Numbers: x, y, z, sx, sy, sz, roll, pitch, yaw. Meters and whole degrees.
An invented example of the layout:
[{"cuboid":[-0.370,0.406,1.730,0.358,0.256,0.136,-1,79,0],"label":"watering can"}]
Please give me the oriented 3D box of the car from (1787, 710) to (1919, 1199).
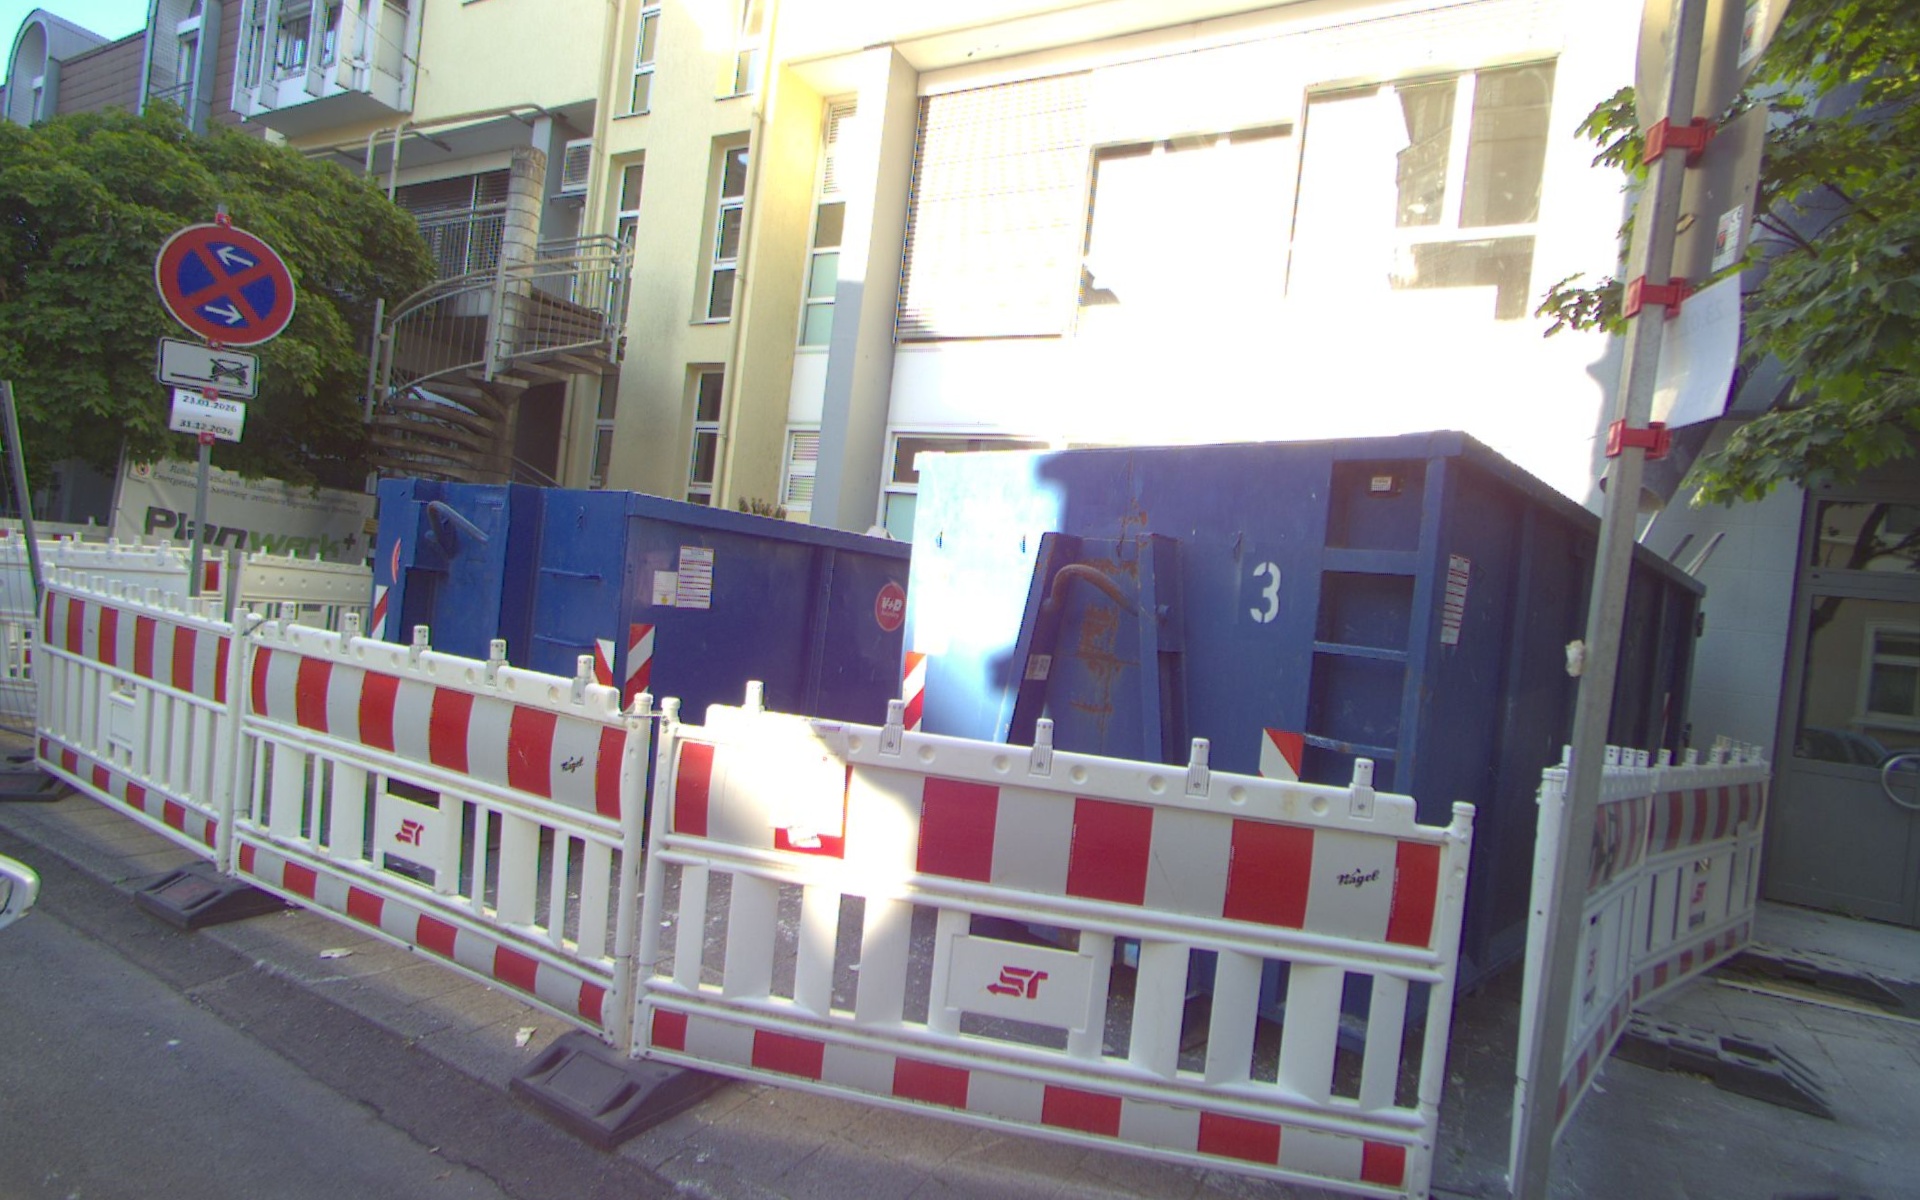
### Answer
[{"cuboid":[2.944,1.116,0.490,3.668,1.495,1.677,7,1,32],"label":"car"}]
